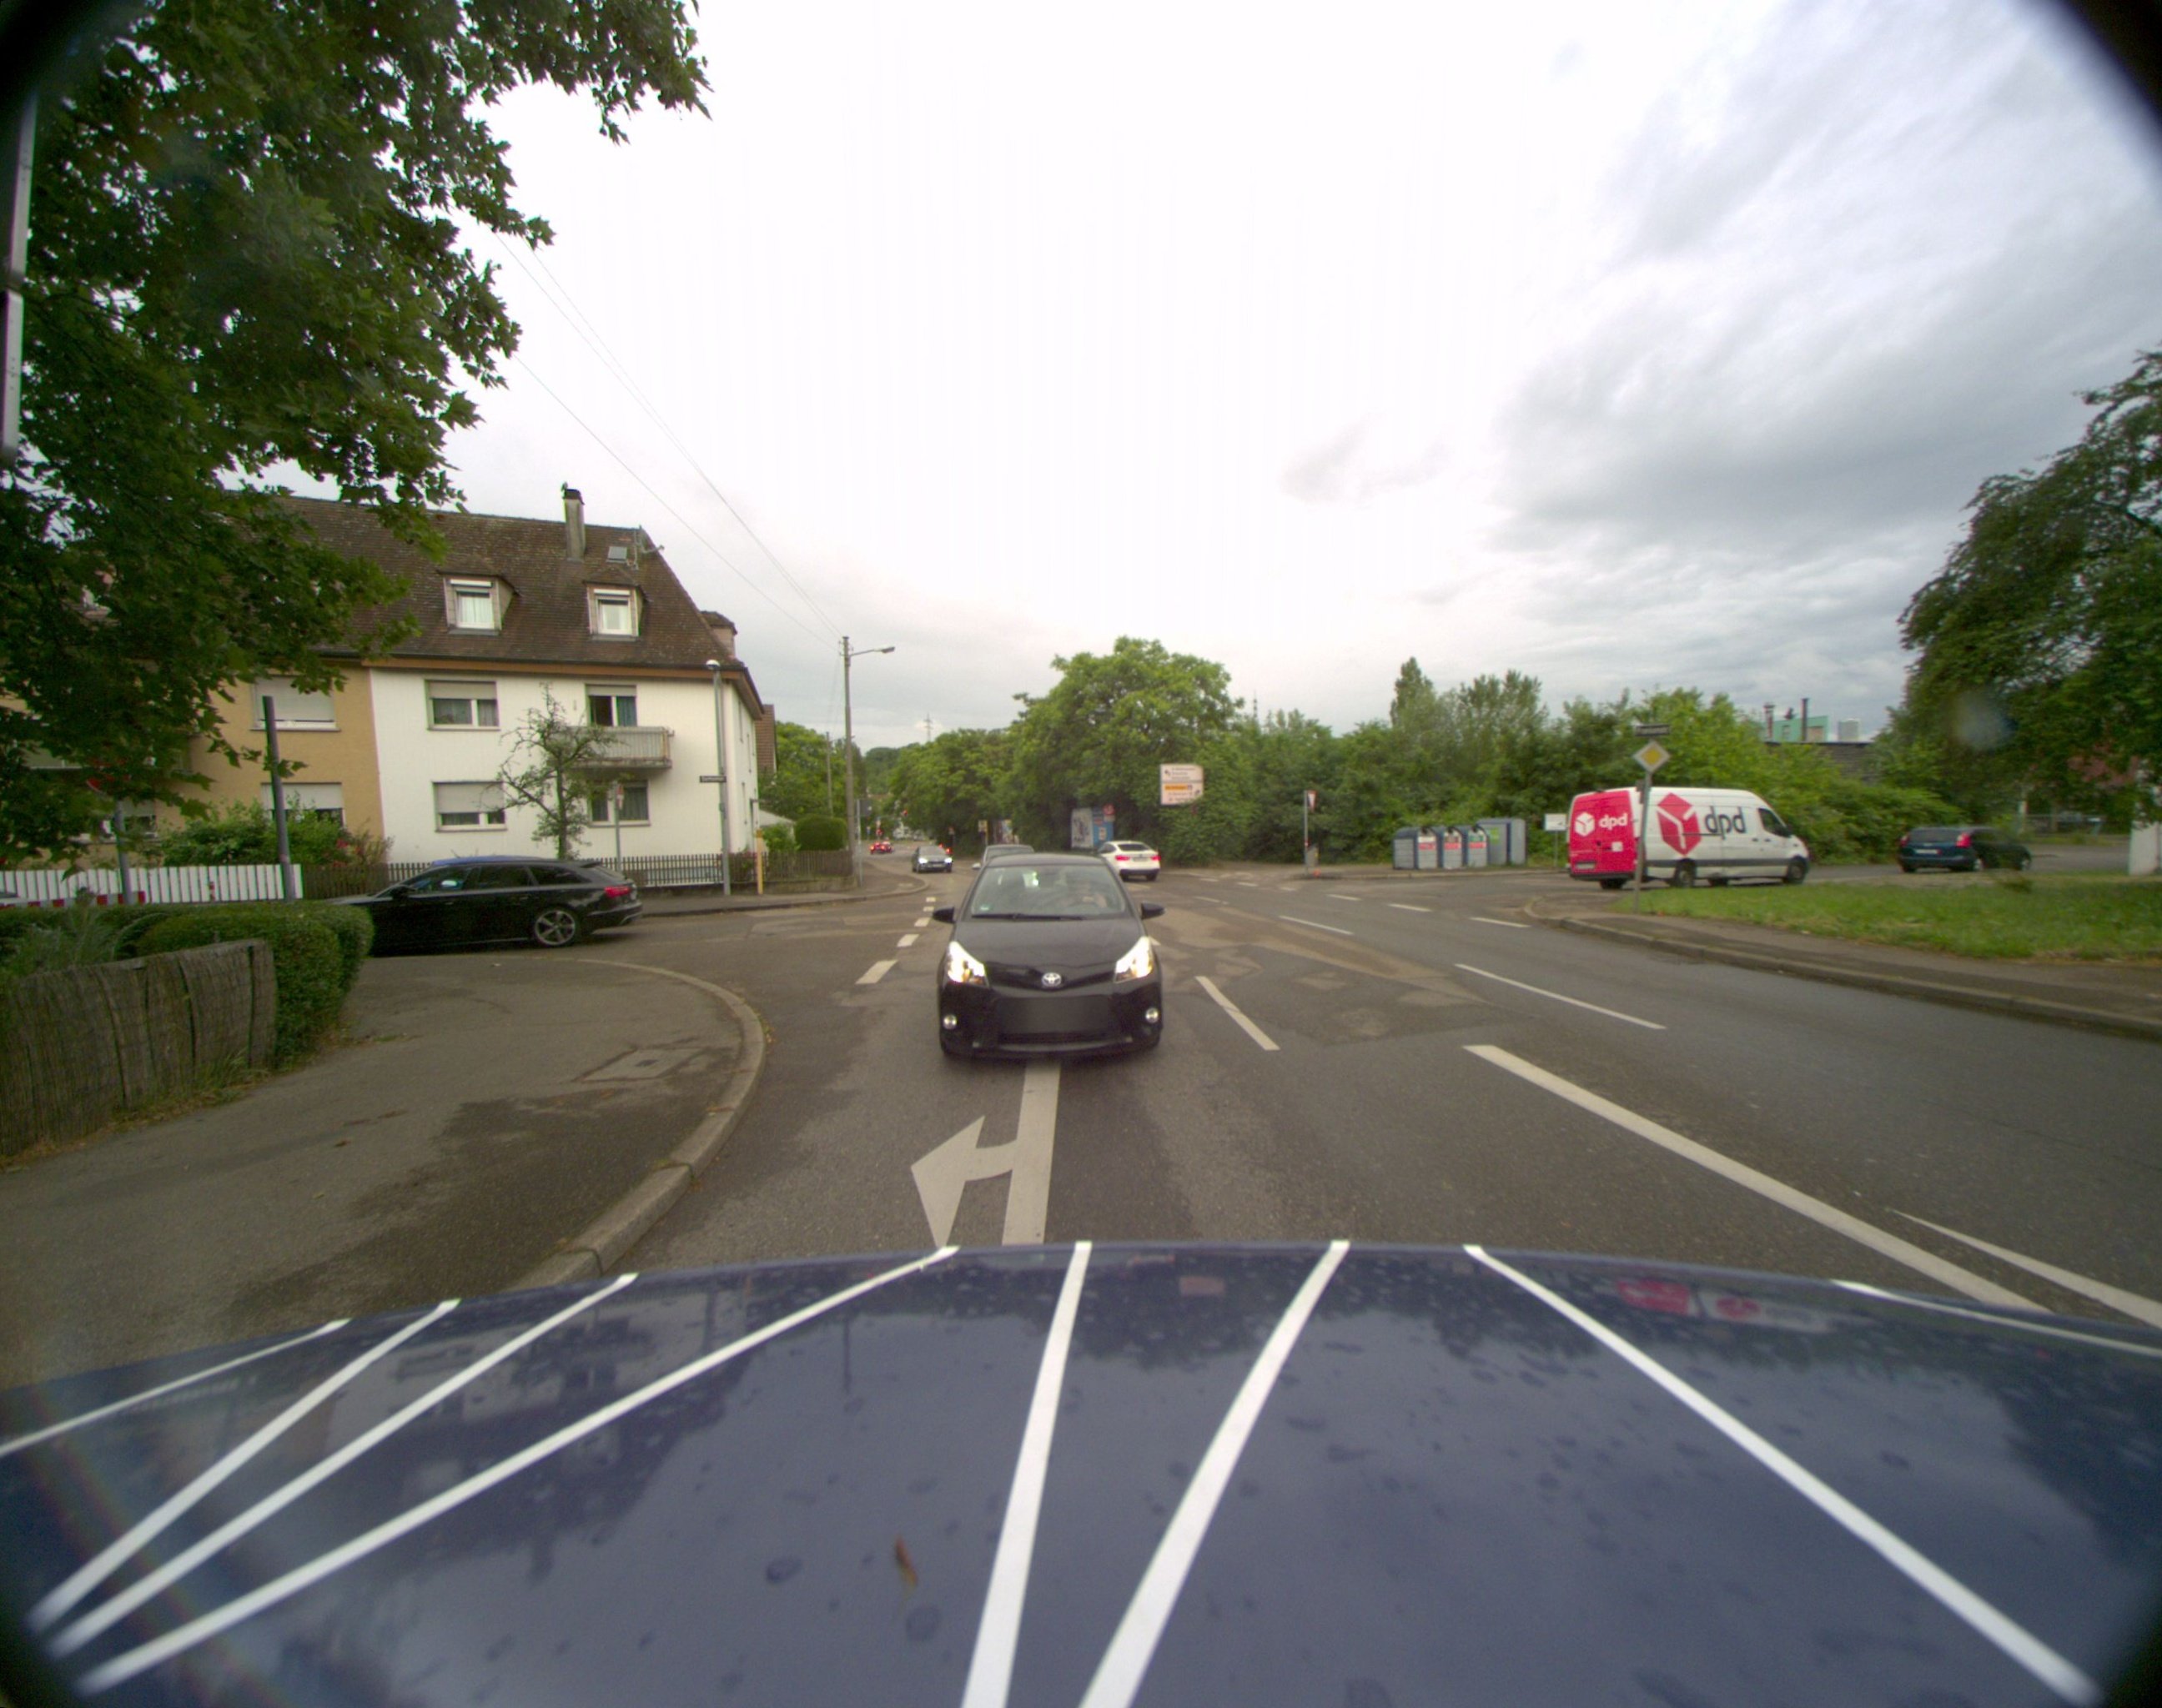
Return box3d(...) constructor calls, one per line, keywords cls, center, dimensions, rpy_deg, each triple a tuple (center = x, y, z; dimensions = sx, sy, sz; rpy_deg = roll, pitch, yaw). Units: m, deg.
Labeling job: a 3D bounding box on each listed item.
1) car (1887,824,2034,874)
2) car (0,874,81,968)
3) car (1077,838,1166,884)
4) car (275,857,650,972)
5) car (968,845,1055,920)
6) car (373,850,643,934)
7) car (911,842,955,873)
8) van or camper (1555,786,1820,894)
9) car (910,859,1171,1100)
box3d(cls="car", center=(30.113, -0.182, 26.037), dimensions=(4.072, 1.521, 1.996), rpy_deg=(-2, 1, -20))
box3d(cls="car", center=(-19.848, 1.179, 12.052), dimensions=(4.396, 1.505, 1.996), rpy_deg=(-2, 1, -19))
box3d(cls="car", center=(1.444, 0.228, 29.667), dimensions=(1.843, 1.549, 5.566), rpy_deg=(-2, 1, -14))
box3d(cls="car", center=(-9.889, 0.879, 12.689), dimensions=(4.397, 1.505, 1.996), rpy_deg=(-2, 1, -22))
box3d(cls="car", center=(-1.761, 0.588, 18.161), dimensions=(1.646, 1.549, 3.624), rpy_deg=(-2, 1, -11))
box3d(cls="car", center=(-11.362, 0.677, 15.459), dimensions=(4.004, 1.456, 1.857), rpy_deg=(-1, 1, -23))
box3d(cls="car", center=(-8.068, 0.177, 41.228), dimensions=(1.710, 1.549, 3.993), rpy_deg=(-2, 1, -20))
box3d(cls="van or camper", center=(15.910, -0.437, 19.917), dimensions=(6.703, 2.508, 2.219), rpy_deg=(-2, 1, -19))
box3d(cls="car", center=(-0.378, 0.822, 6.940), dimensions=(1.645, 1.450, 3.998), rpy_deg=(-2, 0, -4))
